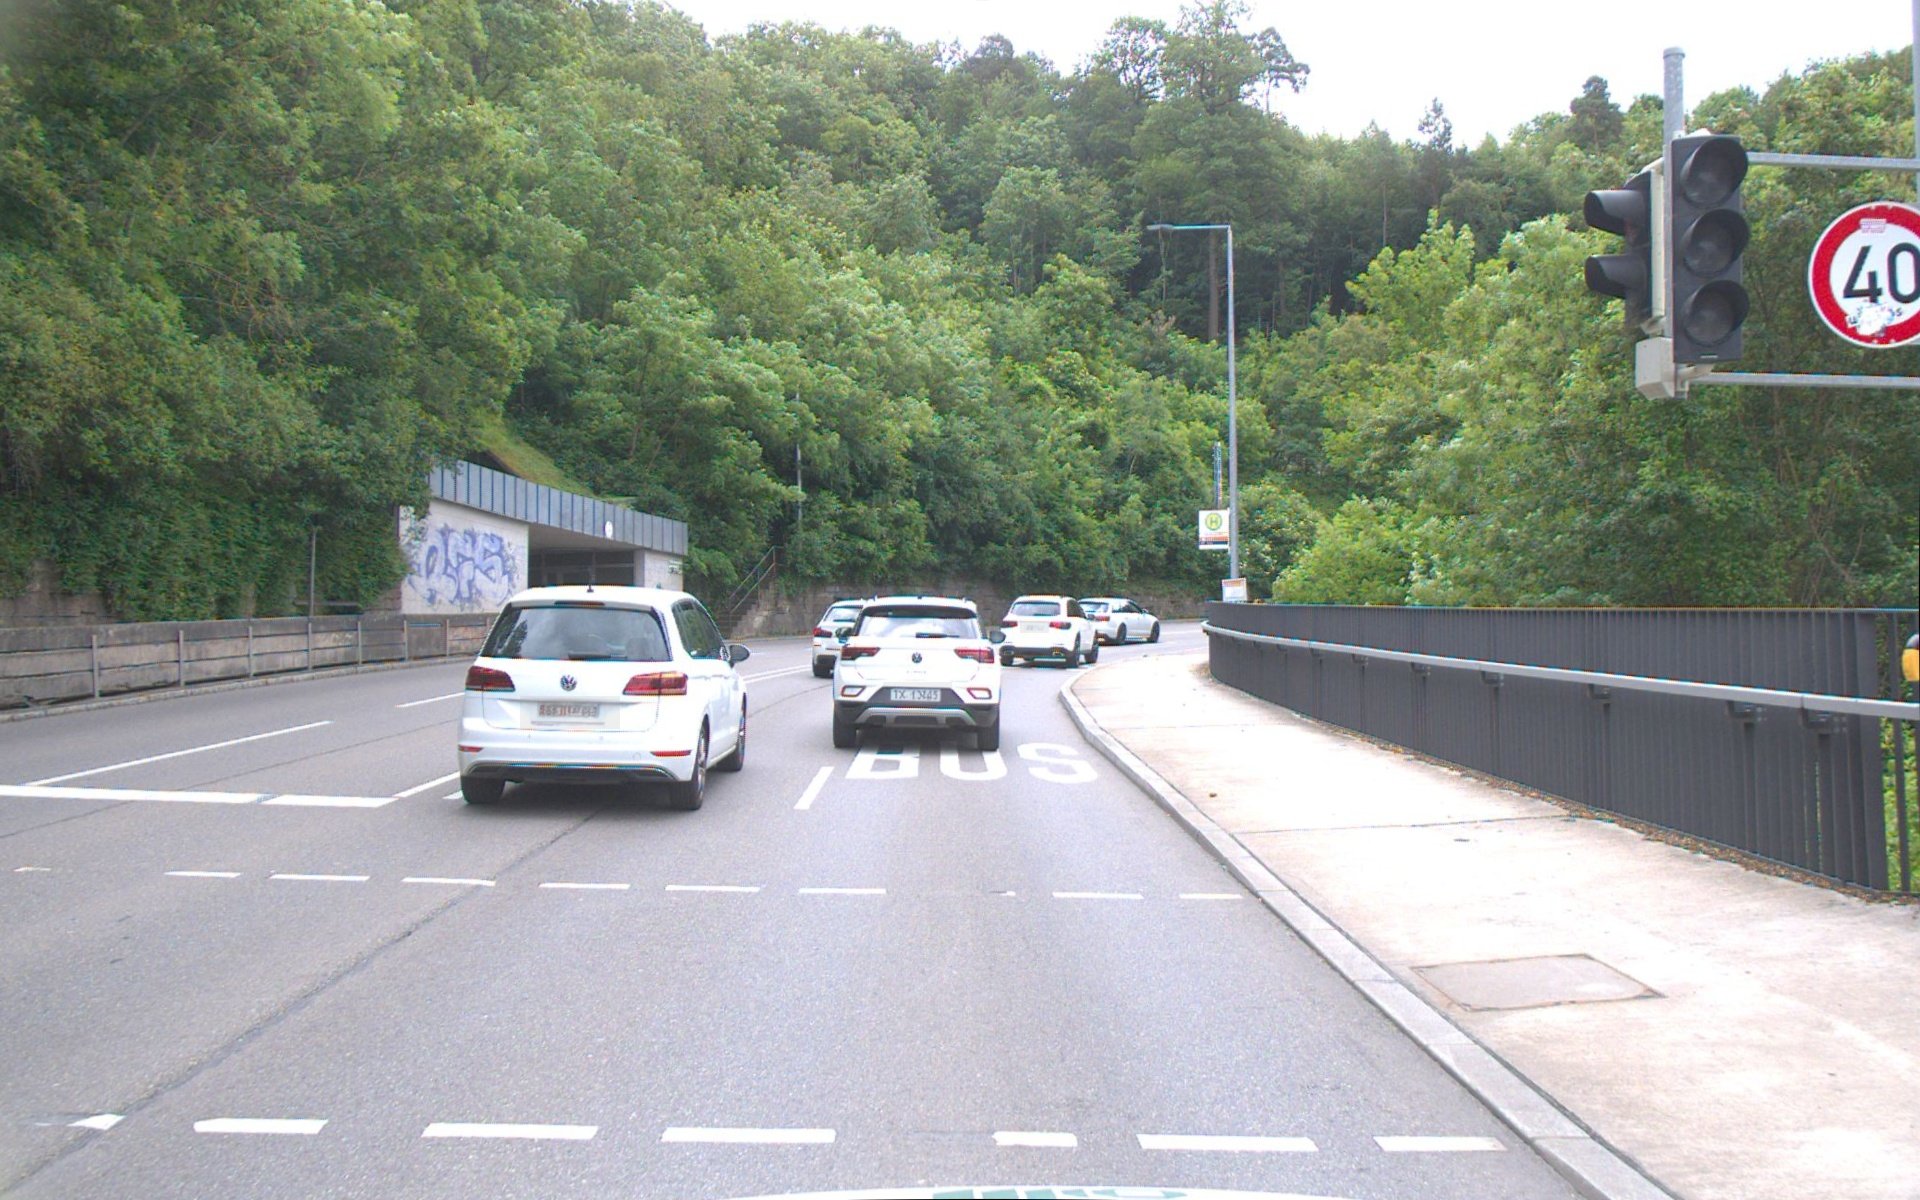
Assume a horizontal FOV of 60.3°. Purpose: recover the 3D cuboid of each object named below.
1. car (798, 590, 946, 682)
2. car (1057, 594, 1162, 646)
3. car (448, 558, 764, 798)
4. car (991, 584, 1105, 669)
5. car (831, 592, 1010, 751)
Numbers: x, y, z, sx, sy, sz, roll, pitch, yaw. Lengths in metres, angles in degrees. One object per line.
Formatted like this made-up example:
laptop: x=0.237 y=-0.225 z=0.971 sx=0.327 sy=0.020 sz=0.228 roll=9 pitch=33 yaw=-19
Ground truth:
car: x=-1.656 y=0.659 z=32.786 sx=1.951 sy=1.584 sz=4.685 roll=3 pitch=0 yaw=8
car: x=4.938 y=0.662 z=54.161 sx=1.709 sy=1.545 sz=4.299 roll=2 pitch=-1 yaw=30
car: x=-2.629 y=0.538 z=13.250 sx=1.685 sy=1.581 sz=4.274 roll=1 pitch=0 yaw=-2
car: x=2.173 y=0.646 z=39.858 sx=1.951 sy=1.875 sz=4.153 roll=2 pitch=-1 yaw=14
car: x=-0.475 y=0.735 z=18.356 sx=1.777 sy=1.566 sz=4.006 roll=0 pitch=-1 yaw=-3
